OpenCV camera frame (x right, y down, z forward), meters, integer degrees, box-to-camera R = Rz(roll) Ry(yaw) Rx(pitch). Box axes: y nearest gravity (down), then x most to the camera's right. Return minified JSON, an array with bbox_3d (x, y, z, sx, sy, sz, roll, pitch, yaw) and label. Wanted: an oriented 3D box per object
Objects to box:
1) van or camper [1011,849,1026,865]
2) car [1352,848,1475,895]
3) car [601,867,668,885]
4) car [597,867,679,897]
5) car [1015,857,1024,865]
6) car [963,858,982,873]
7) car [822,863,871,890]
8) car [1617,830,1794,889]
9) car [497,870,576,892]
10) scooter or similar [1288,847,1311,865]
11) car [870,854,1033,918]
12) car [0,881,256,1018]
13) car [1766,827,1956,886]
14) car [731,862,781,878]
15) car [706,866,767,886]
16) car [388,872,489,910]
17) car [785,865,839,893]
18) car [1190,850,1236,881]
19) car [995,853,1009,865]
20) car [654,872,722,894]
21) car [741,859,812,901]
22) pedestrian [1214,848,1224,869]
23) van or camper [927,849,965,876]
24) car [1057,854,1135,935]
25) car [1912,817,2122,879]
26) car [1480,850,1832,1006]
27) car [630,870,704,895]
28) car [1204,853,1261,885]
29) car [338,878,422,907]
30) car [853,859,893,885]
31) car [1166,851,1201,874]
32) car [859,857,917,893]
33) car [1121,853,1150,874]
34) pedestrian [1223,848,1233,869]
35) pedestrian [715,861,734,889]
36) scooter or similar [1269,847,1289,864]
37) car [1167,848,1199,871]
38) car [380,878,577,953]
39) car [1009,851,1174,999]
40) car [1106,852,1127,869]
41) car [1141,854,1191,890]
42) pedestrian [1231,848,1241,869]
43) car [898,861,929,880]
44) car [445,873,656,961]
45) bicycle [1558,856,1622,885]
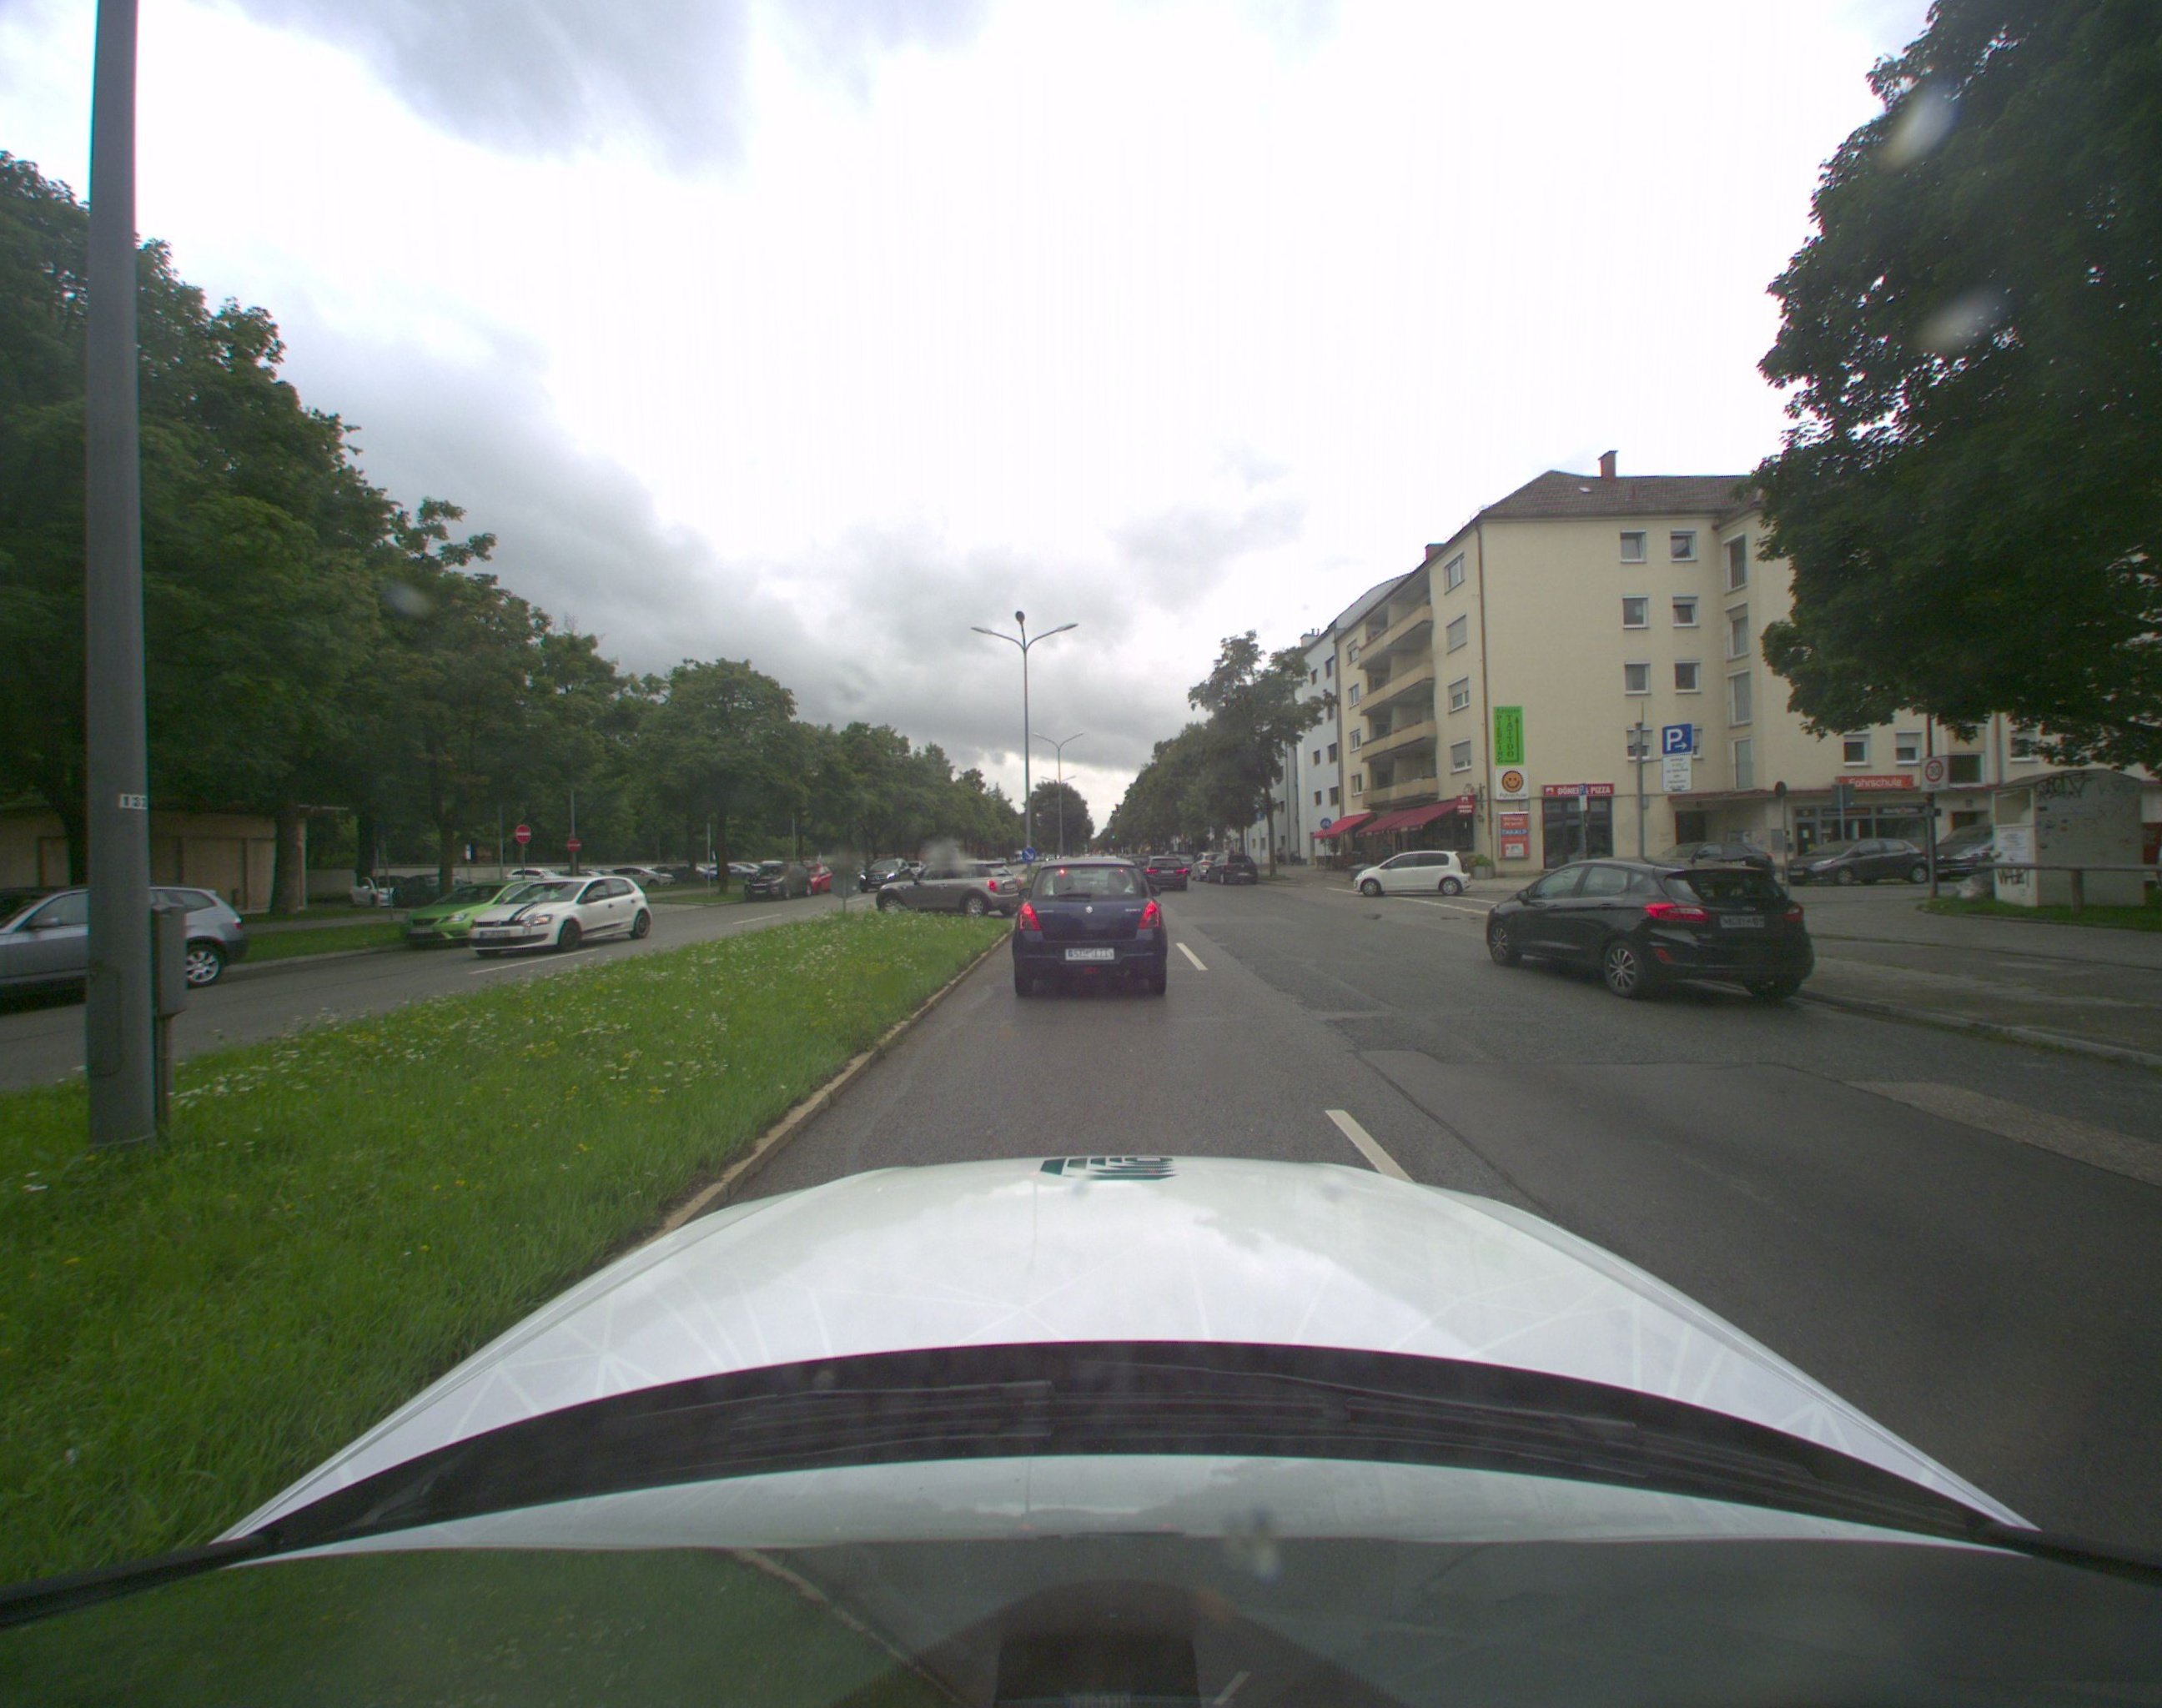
[{"bbox_3d":[-13.348,0.667,174.973,2.552,3.296,6.937,-1,0,0],"label":"van or camper"},{"bbox_3d":[10.883,0.572,26.640,3.515,1.417,1.883,-2,0,28],"label":"car"},{"bbox_3d":[-37.421,1.847,68.366,4.674,1.445,1.673,-1,0,1],"label":"car"},{"bbox_3d":[-26.554,1.651,48.905,3.911,1.718,1.670,-1,0,-5],"label":"car"},{"bbox_3d":[-12.702,1.521,168.102,1.627,1.583,3.879,-1,0,0],"label":"car"},{"bbox_3d":[-12.450,1.300,93.720,1.627,1.583,3.879,-1,0,0],"label":"car"},{"bbox_3d":[-13.406,1.257,46.785,1.662,1.445,3.879,-1,0,0],"label":"car"},{"bbox_3d":[20.070,0.168,26.280,4.384,1.661,1.869,-2,0,-4],"label":"car"},{"bbox_3d":[-38.445,1.921,57.580,4.489,1.476,1.673,-1,-1,1],"label":"car"},{"bbox_3d":[16.546,0.124,61.683,1.029,1.307,2.756,-2,0,2],"label":"scooter or similar"},{"bbox_3d":[-3.245,0.766,20.411,3.688,1.463,1.697,-1,0,25],"label":"car"},{"bbox_3d":[-14.262,1.288,10.993,1.685,1.586,4.371,-3,0,0],"label":"car"},{"bbox_3d":[25.013,0.077,26.222,4.381,1.661,1.870,-2,0,-2],"label":"car"},{"bbox_3d":[-29.288,1.442,73.505,3.859,1.445,1.670,-1,0,-5],"label":"car"},{"bbox_3d":[-25.926,1.626,61.358,3.859,1.445,1.670,-1,0,-5],"label":"car"},{"bbox_3d":[-26.589,1.482,33.676,4.363,1.445,1.973,-1,-1,33],"label":"car"},{"bbox_3d":[-13.767,1.268,41.819,1.585,1.312,3.380,-1,0,0],"label":"car"},{"bbox_3d":[7.200,0.593,44.759,1.786,1.558,4.224,-2,0,0],"label":"car"},{"bbox_3d":[-11.352,0.719,116.743,1.627,1.583,3.879,-1,0,0],"label":"car"},{"bbox_3d":[-26.956,1.963,55.960,3.859,1.445,1.670,-1,0,-5],"label":"car"},{"bbox_3d":[-13.688,1.124,36.843,1.711,1.741,3.879,-1,0,0],"label":"car"},{"bbox_3d":[13.500,0.425,79.593,0.791,2.013,1.006,-1,0,1],"label":"pedestrian"},{"bbox_3d":[-12.897,0.817,78.197,2.109,2.482,7.452,-1,0,2],"label":"van or camper"},{"bbox_3d":[0.291,0.770,16.853,1.439,1.483,3.106,-1,0,0],"label":"car"},{"bbox_3d":[30.486,-0.184,26.622,4.720,1.773,1.871,-2,0,-1],"label":"car"},{"bbox_3d":[6.357,0.708,9.564,1.611,1.465,3.675,0,0,1],"label":"car"},{"bbox_3d":[-26.272,1.799,51.775,3.859,1.445,1.670,-1,0,-5],"label":"car"},{"bbox_3d":[7.385,0.681,40.073,1.861,1.417,4.221,-2,0,-2],"label":"car"},{"bbox_3d":[-31.411,1.696,36.459,4.363,1.201,1.683,-1,-1,33],"label":"car"},{"bbox_3d":[-13.311,1.122,52.298,1.585,1.558,3.879,-1,0,0],"label":"car"},{"bbox_3d":[7.255,0.546,58.119,1.860,1.517,4.223,-2,0,-1],"label":"car"},{"bbox_3d":[-9.871,1.026,41.920,1.760,1.623,4.507,-3,0,1],"label":"car"},{"bbox_3d":[3.927,0.657,59.167,1.726,1.432,4.439,0,0,-2],"label":"car"},{"bbox_3d":[14.326,0.416,79.582,0.791,2.013,1.006,-1,0,1],"label":"pedestrian"},{"bbox_3d":[-19.979,1.176,45.599,0.725,1.534,0.721,-1,-1,1],"label":"pedestrian"},{"bbox_3d":[16.173,0.132,66.639,1.029,1.307,2.756,-2,0,2],"label":"scooter or similar"},{"bbox_3d":[7.831,0.419,62.970,1.860,1.682,4.223,-2,0,-1],"label":"car"},{"bbox_3d":[-14.122,1.377,19.392,1.541,1.409,3.883,-3,0,4],"label":"car"},{"bbox_3d":[0.115,0.731,10.395,1.676,1.502,3.918,-1,0,0],"label":"car"},{"bbox_3d":[3.025,0.536,70.493,1.676,1.383,3.919,0,0,1],"label":"car"},{"bbox_3d":[3.563,0.713,34.756,1.752,1.413,4.463,0,0,1],"label":"car"},{"bbox_3d":[15.131,0.408,79.670,0.791,2.013,1.006,-1,0,1],"label":"pedestrian"},{"bbox_3d":[-13.113,1.260,64.010,1.627,1.431,3.879,-1,0,0],"label":"car"},{"bbox_3d":[-10.413,1.173,16.379,1.613,1.375,3.838,-3,0,1],"label":"car"},{"bbox_3d":[17.614,0.564,28.220,1.840,0.957,0.557,-1,-1,2],"label":"bicycle"}]
